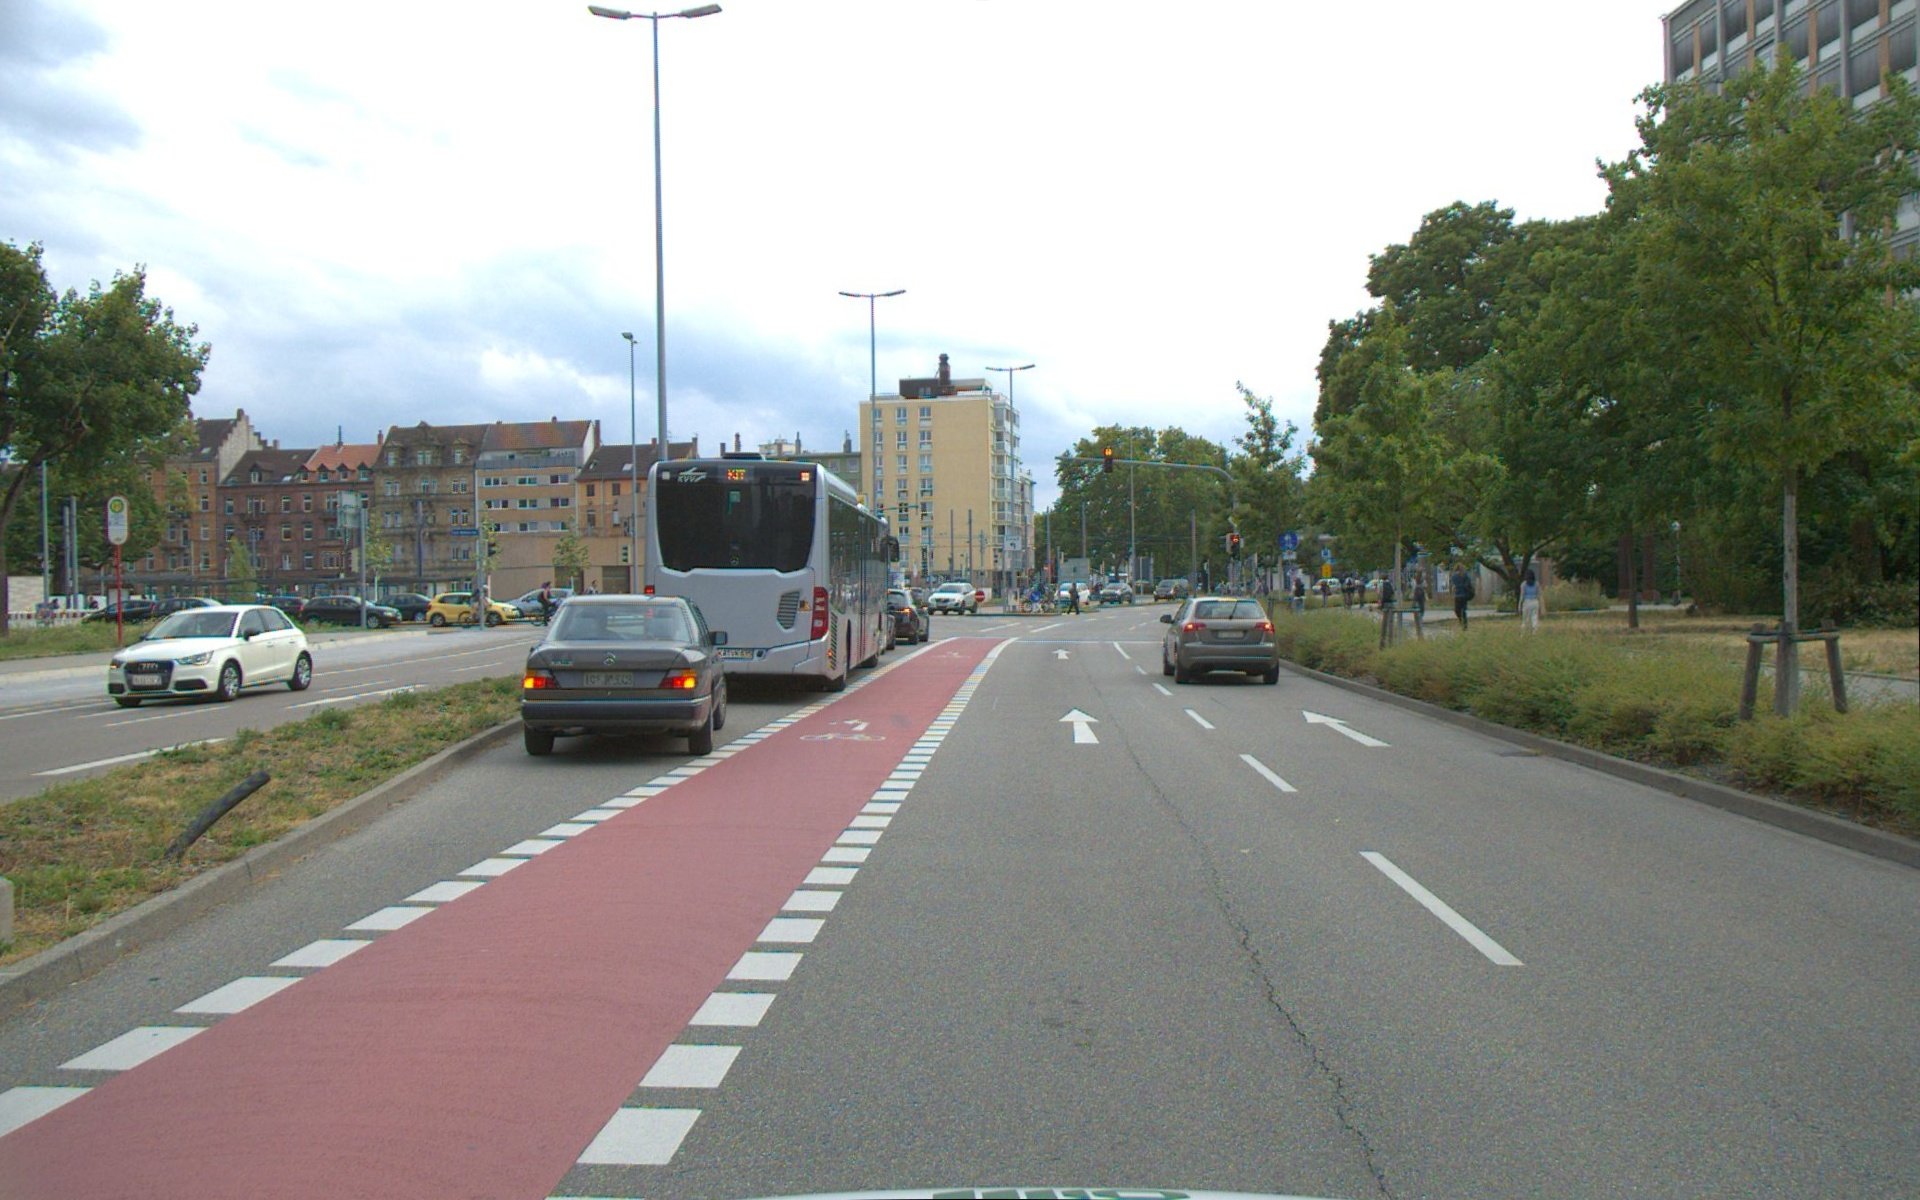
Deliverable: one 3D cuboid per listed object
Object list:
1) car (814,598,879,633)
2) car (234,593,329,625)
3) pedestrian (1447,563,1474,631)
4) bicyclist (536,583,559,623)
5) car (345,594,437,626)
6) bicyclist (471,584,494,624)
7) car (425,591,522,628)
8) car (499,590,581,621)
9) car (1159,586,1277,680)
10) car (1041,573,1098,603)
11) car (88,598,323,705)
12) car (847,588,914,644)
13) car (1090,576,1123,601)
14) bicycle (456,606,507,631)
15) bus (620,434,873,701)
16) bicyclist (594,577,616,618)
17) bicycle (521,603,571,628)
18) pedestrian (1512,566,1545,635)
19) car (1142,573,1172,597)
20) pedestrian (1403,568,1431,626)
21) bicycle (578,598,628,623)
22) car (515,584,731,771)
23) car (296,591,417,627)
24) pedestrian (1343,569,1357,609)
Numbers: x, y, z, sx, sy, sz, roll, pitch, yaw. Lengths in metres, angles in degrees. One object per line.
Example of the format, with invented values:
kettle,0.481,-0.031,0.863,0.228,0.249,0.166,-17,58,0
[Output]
car,-6.112,0.829,89.556,1.952,1.732,4.001,-1,1,21
car,-31.065,0.421,75.831,3.688,1.419,1.584,0,0,-3
pedestrian,12.918,-0.083,42.688,0.633,1.743,0.562,-1,0,17
bicyclist,-17.349,0.131,69.616,0.770,1.672,0.572,-1,0,1
car,-26.195,0.437,76.207,3.688,1.419,1.584,0,0,-3
bicyclist,-20.081,0.164,69.503,0.771,1.672,0.572,-1,0,-3
car,-21.160,0.408,72.025,3.779,1.544,1.659,0,0,-3
car,-19.525,0.251,76.897,3.614,1.419,1.577,0,1,-17
car,4.434,0.527,28.889,1.688,1.483,3.738,-1,1,4
car,8.247,-0.931,123.756,2.531,2.146,5.600,-1,1,23
car,-11.505,0.736,25.519,1.636,1.413,3.924,-2,1,3
car,-2.099,0.400,44.737,1.621,1.421,3.860,-1,1,0
car,11.850,-0.929,133.492,1.769,1.883,4.002,-1,1,19
bicycle,-20.100,0.768,69.503,1.925,0.999,0.630,-1,0,-3
bus,-3.007,-0.483,25.742,2.773,3.449,8.183,-1,1,0
bicyclist,-14.872,-0.102,69.332,0.770,1.672,0.614,-1,0,0
bicycle,-17.422,0.666,69.618,1.924,0.999,0.631,-1,0,1
pedestrian,12.518,0.012,36.431,0.643,1.496,0.562,-1,0,19
car,17.433,-1.332,146.277,1.951,2.049,4.003,-1,1,16
pedestrian,14.078,-0.096,50.923,0.785,1.743,0.765,-1,0,15
bicycle,-14.974,0.425,69.329,1.924,0.999,0.631,-1,0,-1
car,-3.096,0.624,15.903,1.728,1.515,4.164,-1,1,-8
car,-26.068,0.380,71.516,4.576,1.501,1.659,0,0,-3
pedestrian,20.260,-0.588,85.901,0.601,2.049,0.597,-1,0,1
